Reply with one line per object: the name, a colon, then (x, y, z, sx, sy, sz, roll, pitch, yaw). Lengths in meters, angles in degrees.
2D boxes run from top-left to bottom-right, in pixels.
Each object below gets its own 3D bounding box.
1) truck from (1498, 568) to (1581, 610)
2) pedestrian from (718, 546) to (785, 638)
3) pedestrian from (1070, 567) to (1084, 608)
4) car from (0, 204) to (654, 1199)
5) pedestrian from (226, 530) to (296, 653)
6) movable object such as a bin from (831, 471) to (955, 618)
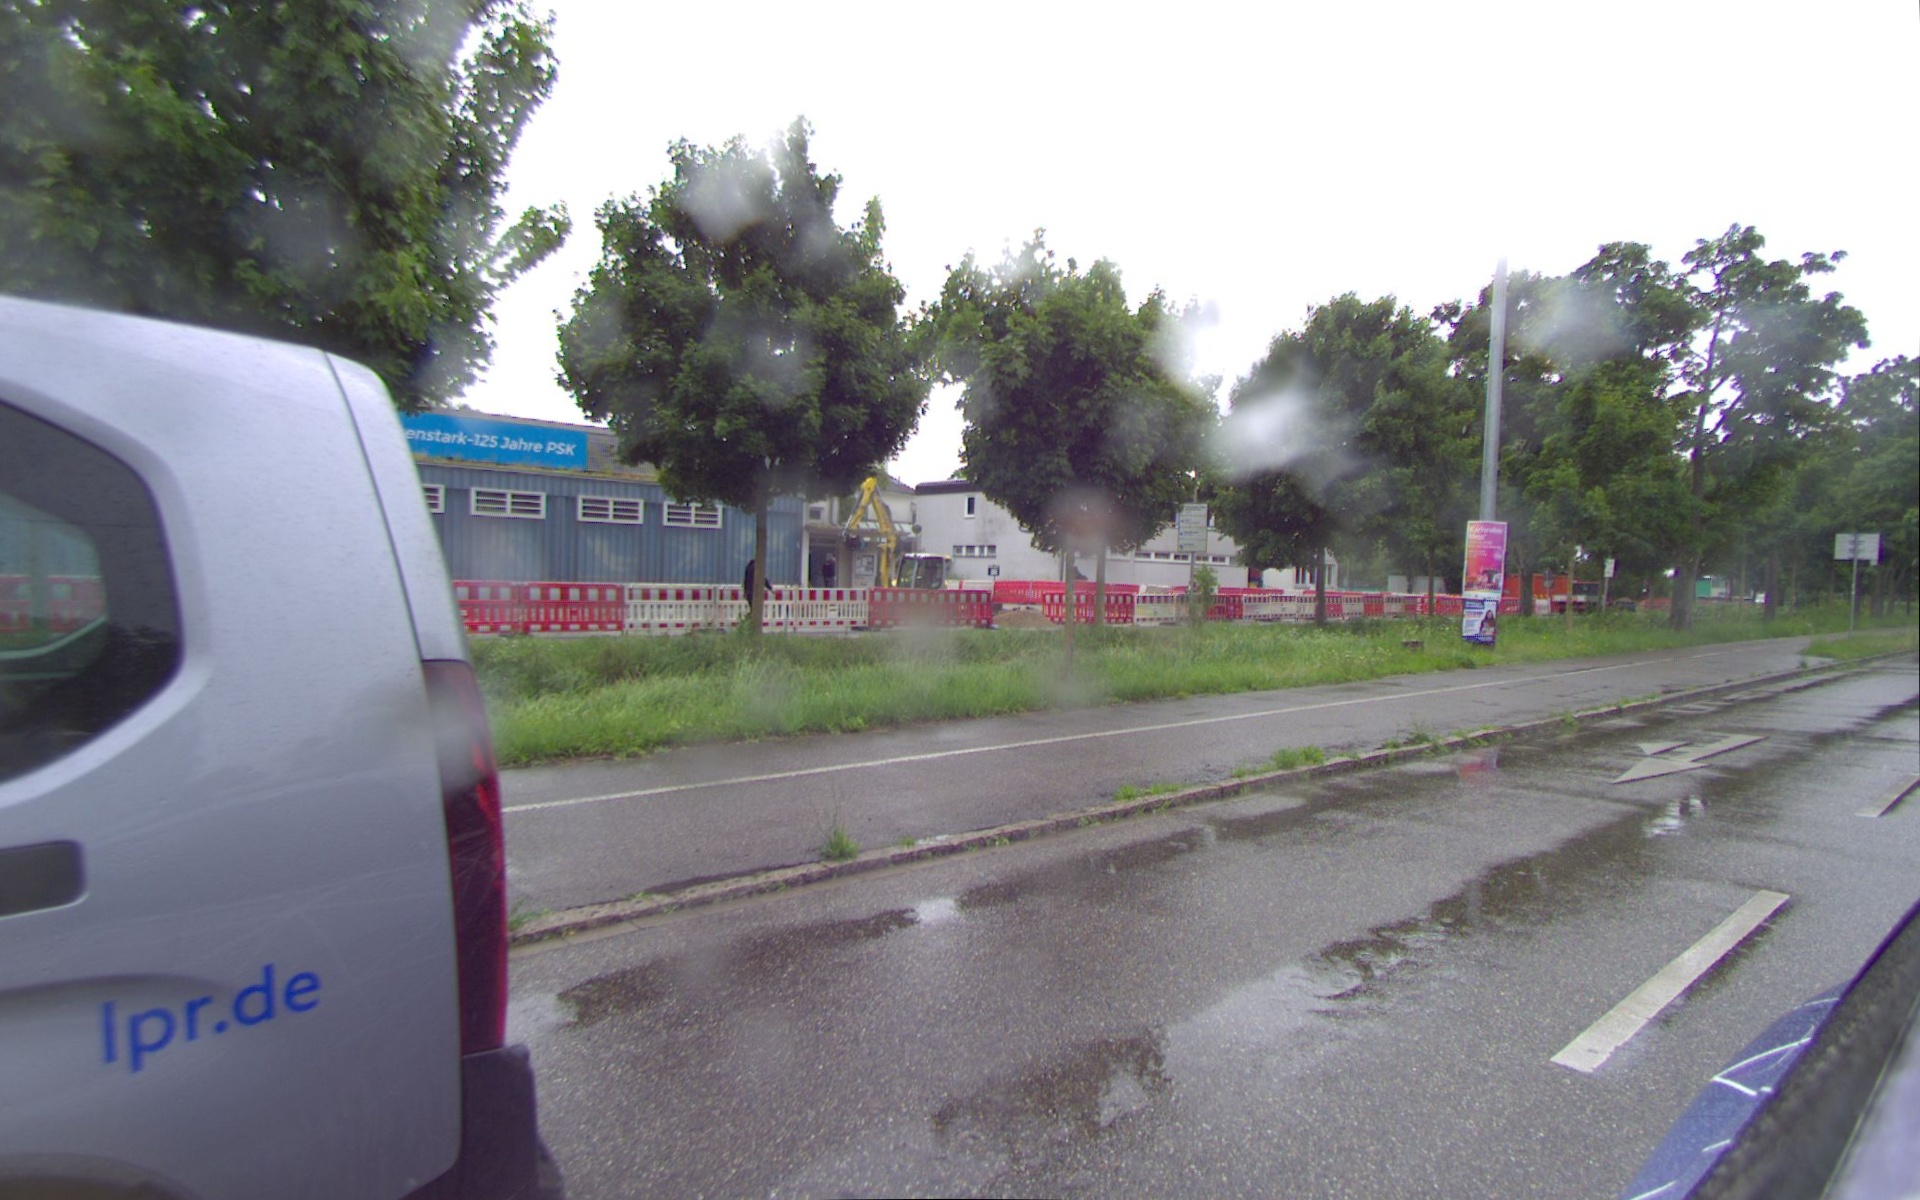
truck: (42.645, -0.788, 74.363, 8.601, 2.935, 2.807, -1, 0, -42)
pedestrian: (-4.601, -0.181, 22.328, 1.192, 1.960, 0.813, 0, 0, -42)
pedestrian: (5.363, -0.558, 46.439, 0.487, 1.864, 0.363, 0, 1, -40)
car: (-2.767, 0.511, 0.719, 4.484, 1.818, 1.996, 0, 1, -42)
pedestrian: (-11.314, -0.136, 16.385, 0.861, 1.920, 0.580, 0, 0, -42)
movable object such as a bin: (-2.116, -1.725, 32.734, 3.840, 4.482, 1.557, 0, 0, -40)
